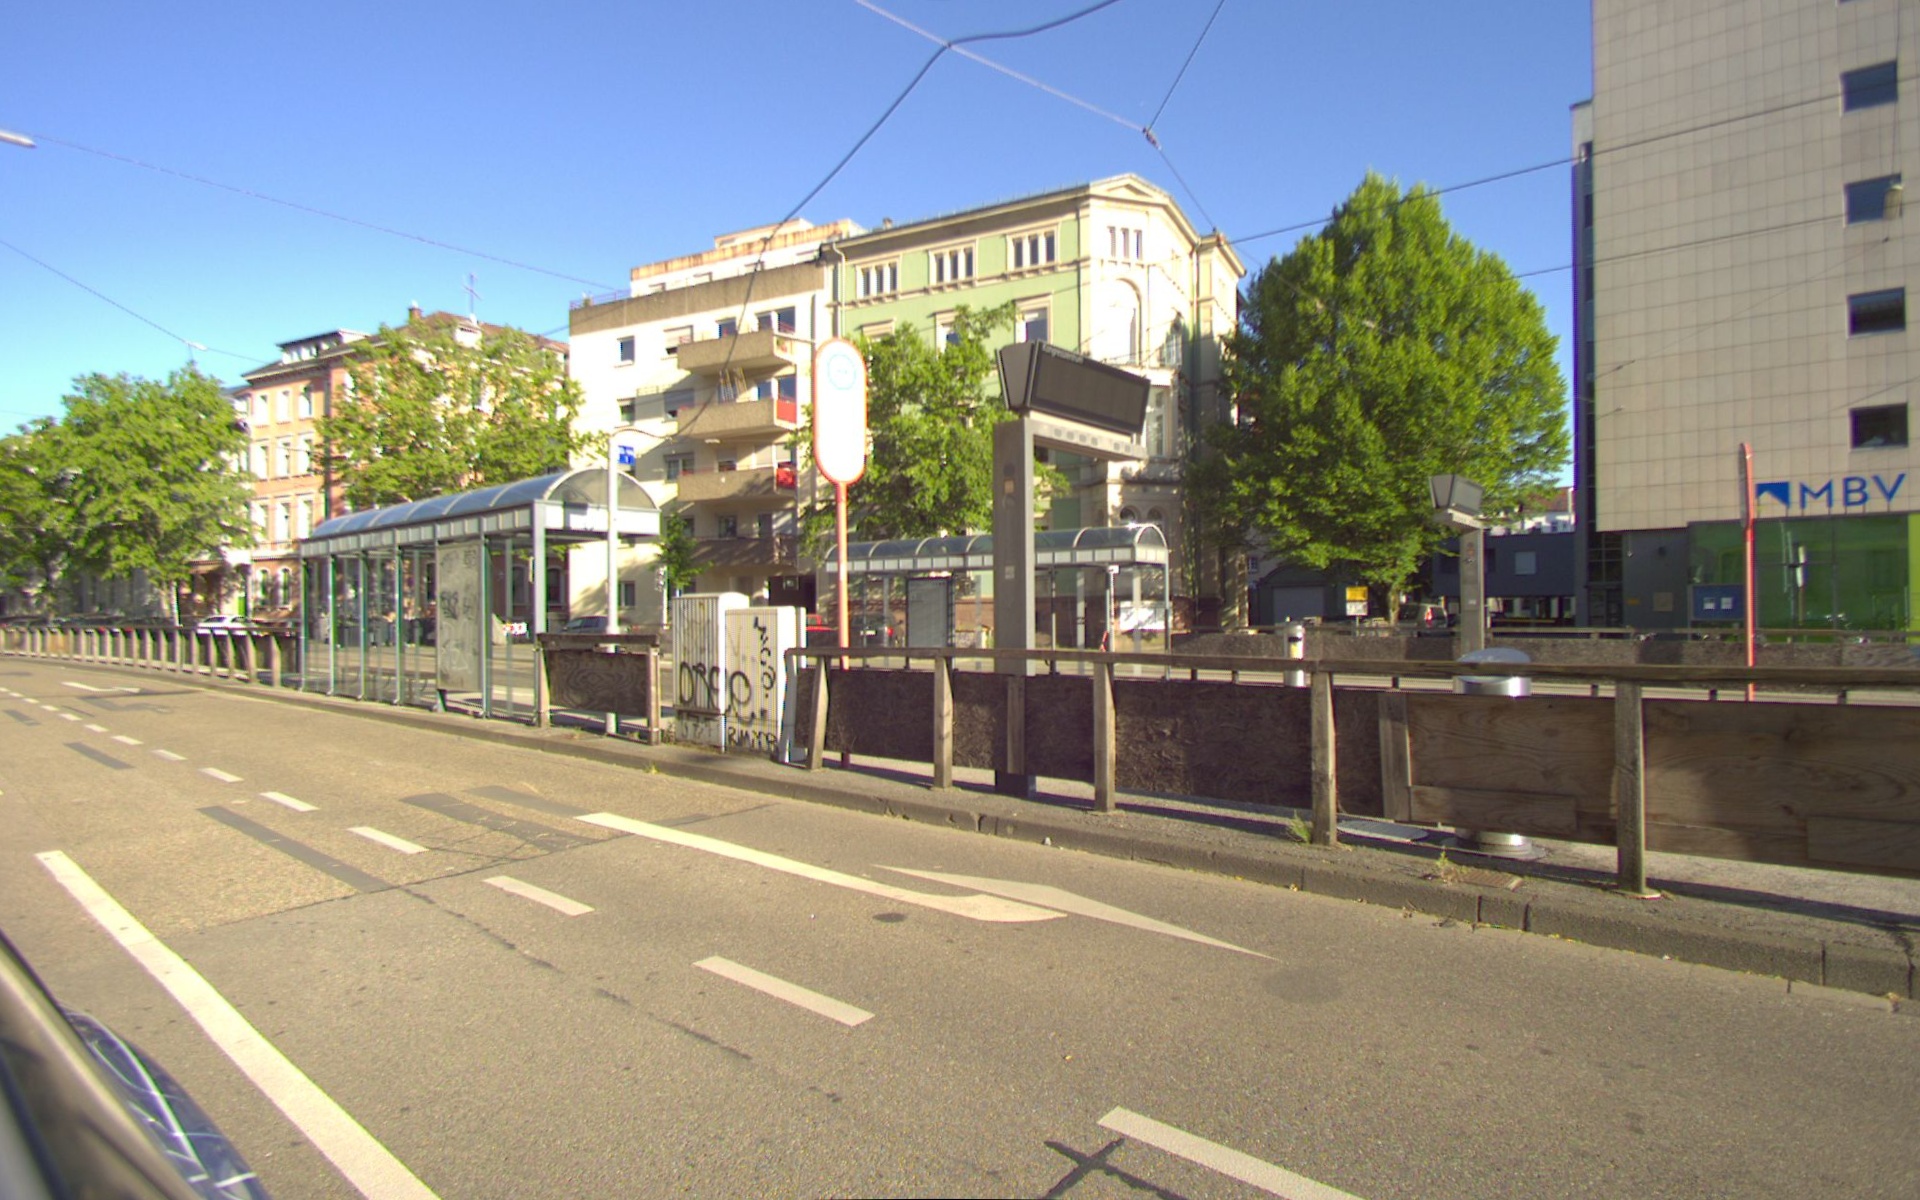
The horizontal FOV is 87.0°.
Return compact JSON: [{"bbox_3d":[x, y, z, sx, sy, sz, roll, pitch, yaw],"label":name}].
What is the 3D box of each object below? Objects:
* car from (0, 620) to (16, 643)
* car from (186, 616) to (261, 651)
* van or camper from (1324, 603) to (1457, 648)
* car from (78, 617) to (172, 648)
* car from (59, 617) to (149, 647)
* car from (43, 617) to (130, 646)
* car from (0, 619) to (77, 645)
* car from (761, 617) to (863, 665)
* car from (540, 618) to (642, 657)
[{"bbox_3d":[-68.090,2.194,70.129,2.001,1.604,3.812,-2,-2,44],"label":"car"},{"bbox_3d":[-39.513,1.753,54.387,1.966,1.736,4.012,0,1,-15],"label":"car"},{"bbox_3d":[15.512,0.886,36.556,3.998,1.417,1.943,2,0,41],"label":"van or camper"},{"bbox_3d":[-47.968,1.826,58.170,2.001,1.697,3.942,-2,-2,44],"label":"car"},{"bbox_3d":[-51.285,1.889,60.643,2.001,1.697,3.942,-2,-2,44],"label":"car"},{"bbox_3d":[-54.292,1.935,62.972,2.001,1.697,3.942,-2,-2,44],"label":"car"},{"bbox_3d":[-59.601,2.061,65.283,3.811,1.604,2.001,1,-2,-45],"label":"car"},{"bbox_3d":[-4.994,1.365,34.700,1.763,1.547,3.763,-1,-2,23],"label":"car"},{"bbox_3d":[-13.995,1.414,38.405,3.498,1.406,1.602,-1,-2,22],"label":"car"}]
